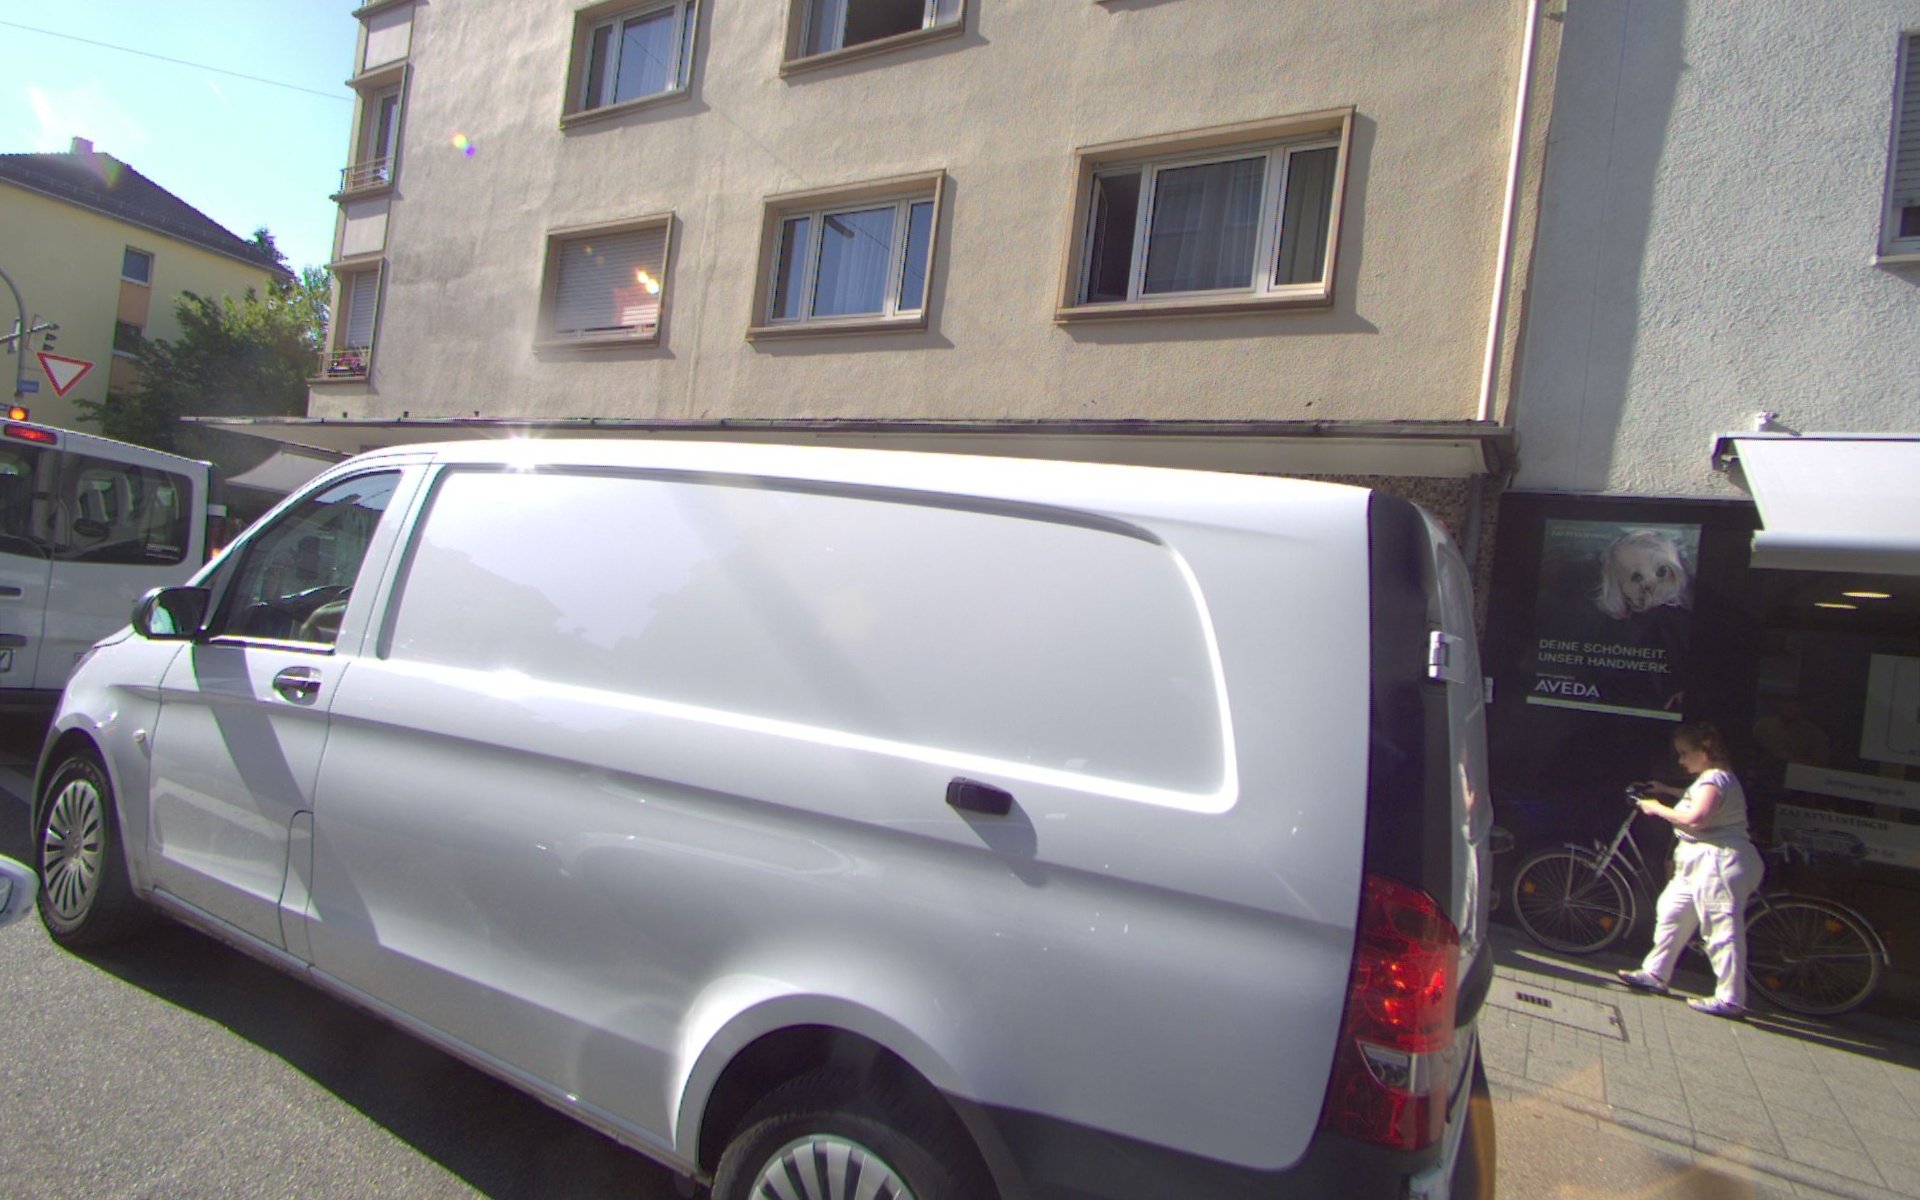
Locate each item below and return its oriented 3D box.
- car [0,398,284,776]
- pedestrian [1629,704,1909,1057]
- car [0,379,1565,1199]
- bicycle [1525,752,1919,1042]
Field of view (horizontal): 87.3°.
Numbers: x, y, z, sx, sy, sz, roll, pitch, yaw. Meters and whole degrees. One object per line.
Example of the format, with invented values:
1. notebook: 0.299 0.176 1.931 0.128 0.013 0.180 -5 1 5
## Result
1. car: -7.008 -0.261 6.857 4.814 2.001 1.998 7 -3 32
2. pedestrian: 4.323 1.430 5.485 0.931 1.559 0.823 7 3 31
3. car: -0.997 0.493 3.317 4.912 1.891 1.840 7 -1 31
4. bicycle: 4.328 1.617 5.776 1.763 1.148 0.401 7 3 32
